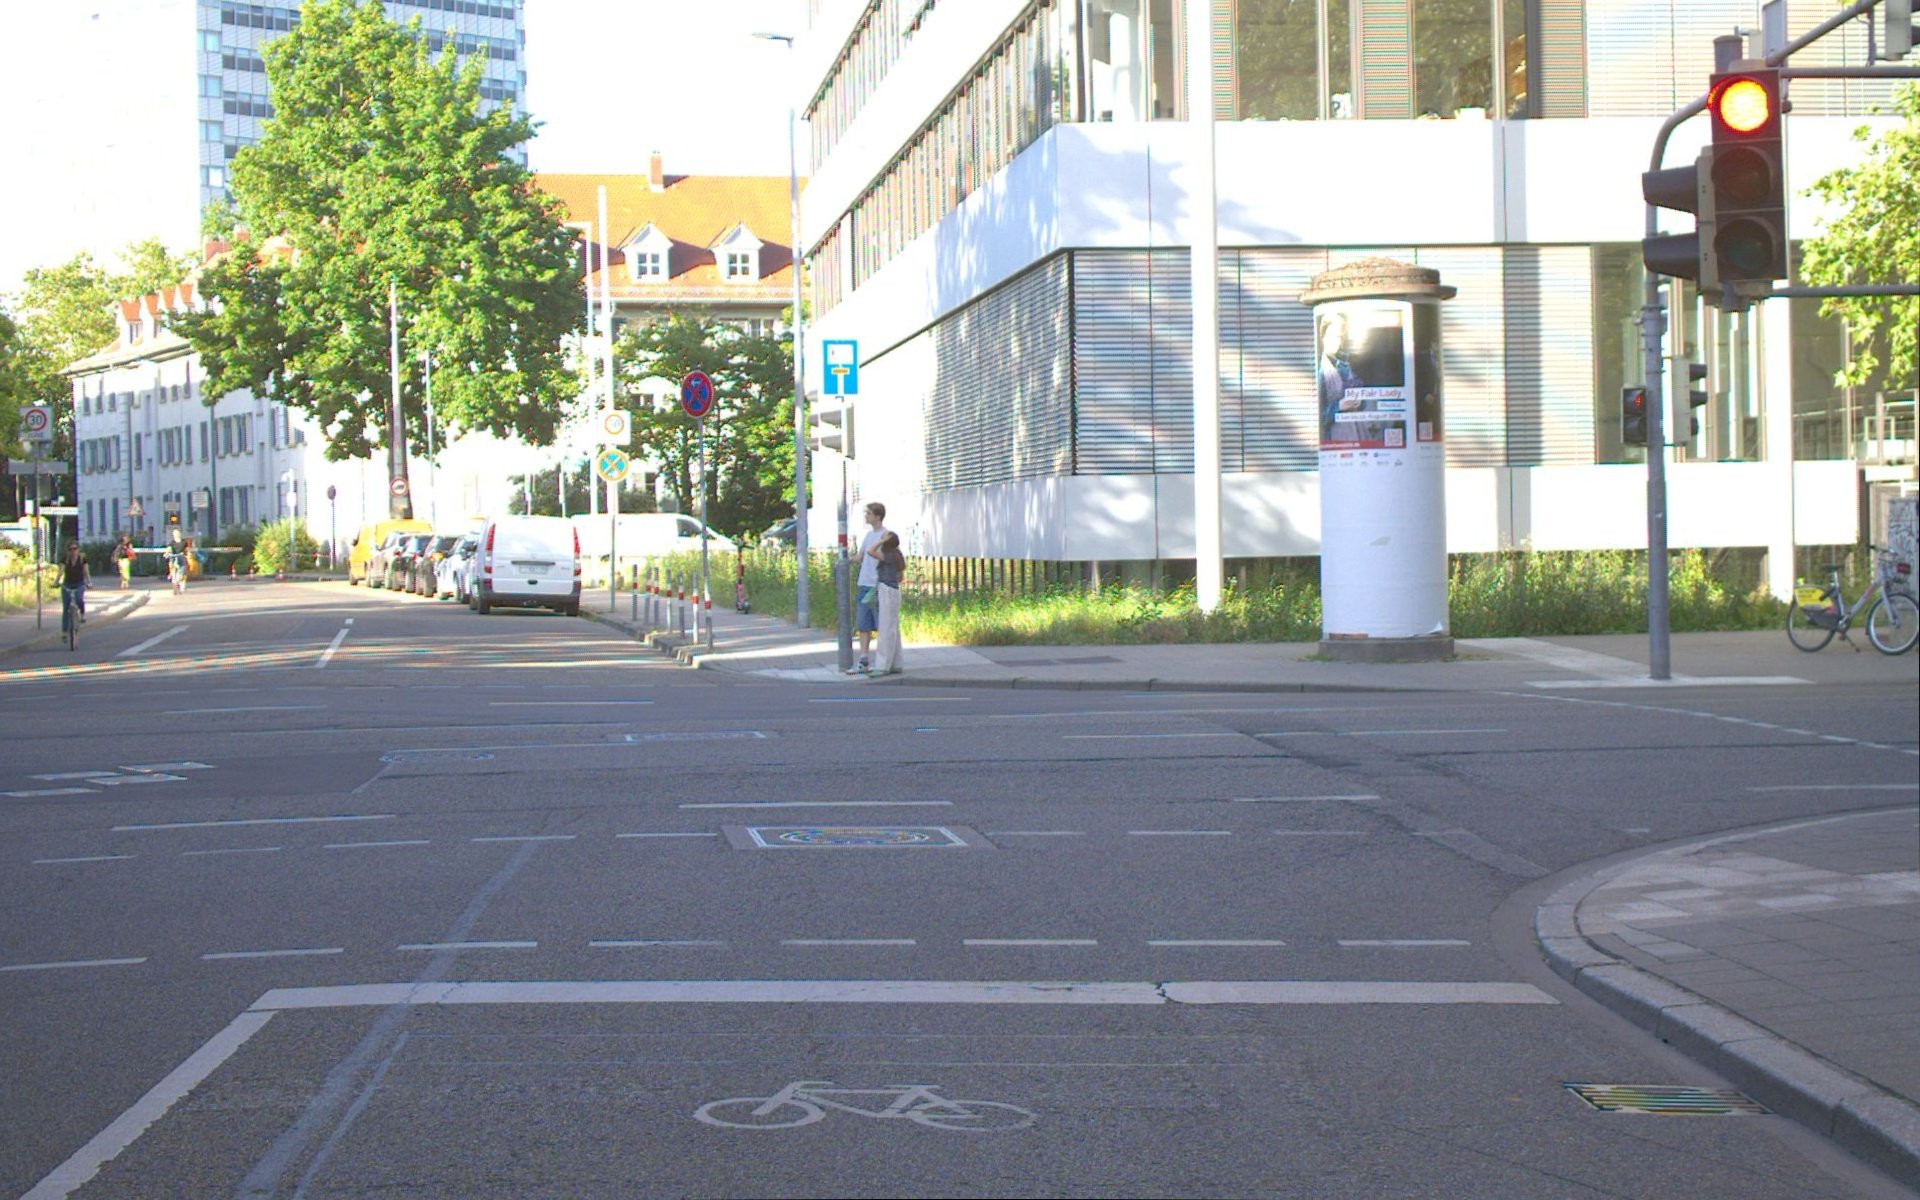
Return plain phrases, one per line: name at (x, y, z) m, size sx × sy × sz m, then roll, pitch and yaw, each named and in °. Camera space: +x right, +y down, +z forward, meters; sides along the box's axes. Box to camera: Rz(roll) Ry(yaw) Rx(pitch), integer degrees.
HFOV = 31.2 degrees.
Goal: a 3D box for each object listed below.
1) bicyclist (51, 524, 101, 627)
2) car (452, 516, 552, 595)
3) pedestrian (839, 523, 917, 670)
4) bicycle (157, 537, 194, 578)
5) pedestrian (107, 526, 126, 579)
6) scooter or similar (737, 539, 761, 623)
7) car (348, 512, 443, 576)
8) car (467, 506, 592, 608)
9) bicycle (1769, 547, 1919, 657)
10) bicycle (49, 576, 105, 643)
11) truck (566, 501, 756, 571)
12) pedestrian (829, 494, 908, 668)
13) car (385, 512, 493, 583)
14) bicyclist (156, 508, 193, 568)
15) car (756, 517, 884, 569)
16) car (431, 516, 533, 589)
bicyclist at (-13.299, -0.371, 51.733) m, size 0.615 × 1.527 × 0.903 m, roll -2°, pitch 1°, yaw -9°
car at (-9.747, -0.971, 72.964) m, size 1.888 × 1.550 × 4.417 m, roll -1°, pitch 2°, yaw -10°
pedestrian at (-0.888, -0.044, 37.225) m, size 0.559 × 1.535 × 0.677 m, roll -5°, pitch 2°, yaw -18°
bicycle at (-20.731, -1.127, 90.855) m, size 0.865 × 1.006 × 2.415 m, roll -4°, pitch 1°, yaw -12°
pedestrian at (-25.372, -1.429, 103.370) m, size 0.433 × 1.602 × 0.493 m, roll -2°, pitch 1°, yaw -26°
scooter or similar at (-3.591, -0.330, 58.592) m, size 0.330 × 1.419 × 1.335 m, roll 1°, pitch 0°, yaw -6°
car at (-15.699, -1.576, 95.516) m, size 1.888 × 1.650 × 4.417 m, roll -1°, pitch 2°, yaw -19°
car at (-8.147, -0.845, 64.752) m, size 2.084 × 1.789 × 4.417 m, roll -1°, pitch 2°, yaw -10°
bicycle at (9.311, 0.009, 36.058) m, size 0.507 × 1.045 × 1.687 m, roll -4°, pitch 5°, yaw -35°
bicycle at (-13.326, 0.134, 51.905) m, size 0.615 × 0.966 × 1.842 m, roll -2°, pitch 1°, yaw -9°
truck at (-8.967, -1.921, 103.071) m, size 5.336 × 2.007 × 2.001 m, roll -1°, pitch 1°, yaw -19°
pedestrian at (-1.004, -0.215, 37.828) m, size 0.560 × 1.844 × 0.677 m, roll -3°, pitch 2°, yaw 16°
car at (-13.004, -1.334, 85.581) m, size 1.888 × 1.650 × 4.417 m, roll -1°, pitch 2°, yaw -19°
bicyclist at (-20.755, -1.635, 90.861) m, size 0.865 × 1.510 × 1.019 m, roll -4°, pitch 1°, yaw -12°
car at (-4.252, -1.740, 104.259) m, size 3.554 × 1.541 × 1.559 m, roll -1°, pitch 1°, yaw -19°
car at (-10.920, -1.117, 78.334) m, size 1.888 × 1.550 × 4.417 m, roll -1°, pitch 2°, yaw -13°
